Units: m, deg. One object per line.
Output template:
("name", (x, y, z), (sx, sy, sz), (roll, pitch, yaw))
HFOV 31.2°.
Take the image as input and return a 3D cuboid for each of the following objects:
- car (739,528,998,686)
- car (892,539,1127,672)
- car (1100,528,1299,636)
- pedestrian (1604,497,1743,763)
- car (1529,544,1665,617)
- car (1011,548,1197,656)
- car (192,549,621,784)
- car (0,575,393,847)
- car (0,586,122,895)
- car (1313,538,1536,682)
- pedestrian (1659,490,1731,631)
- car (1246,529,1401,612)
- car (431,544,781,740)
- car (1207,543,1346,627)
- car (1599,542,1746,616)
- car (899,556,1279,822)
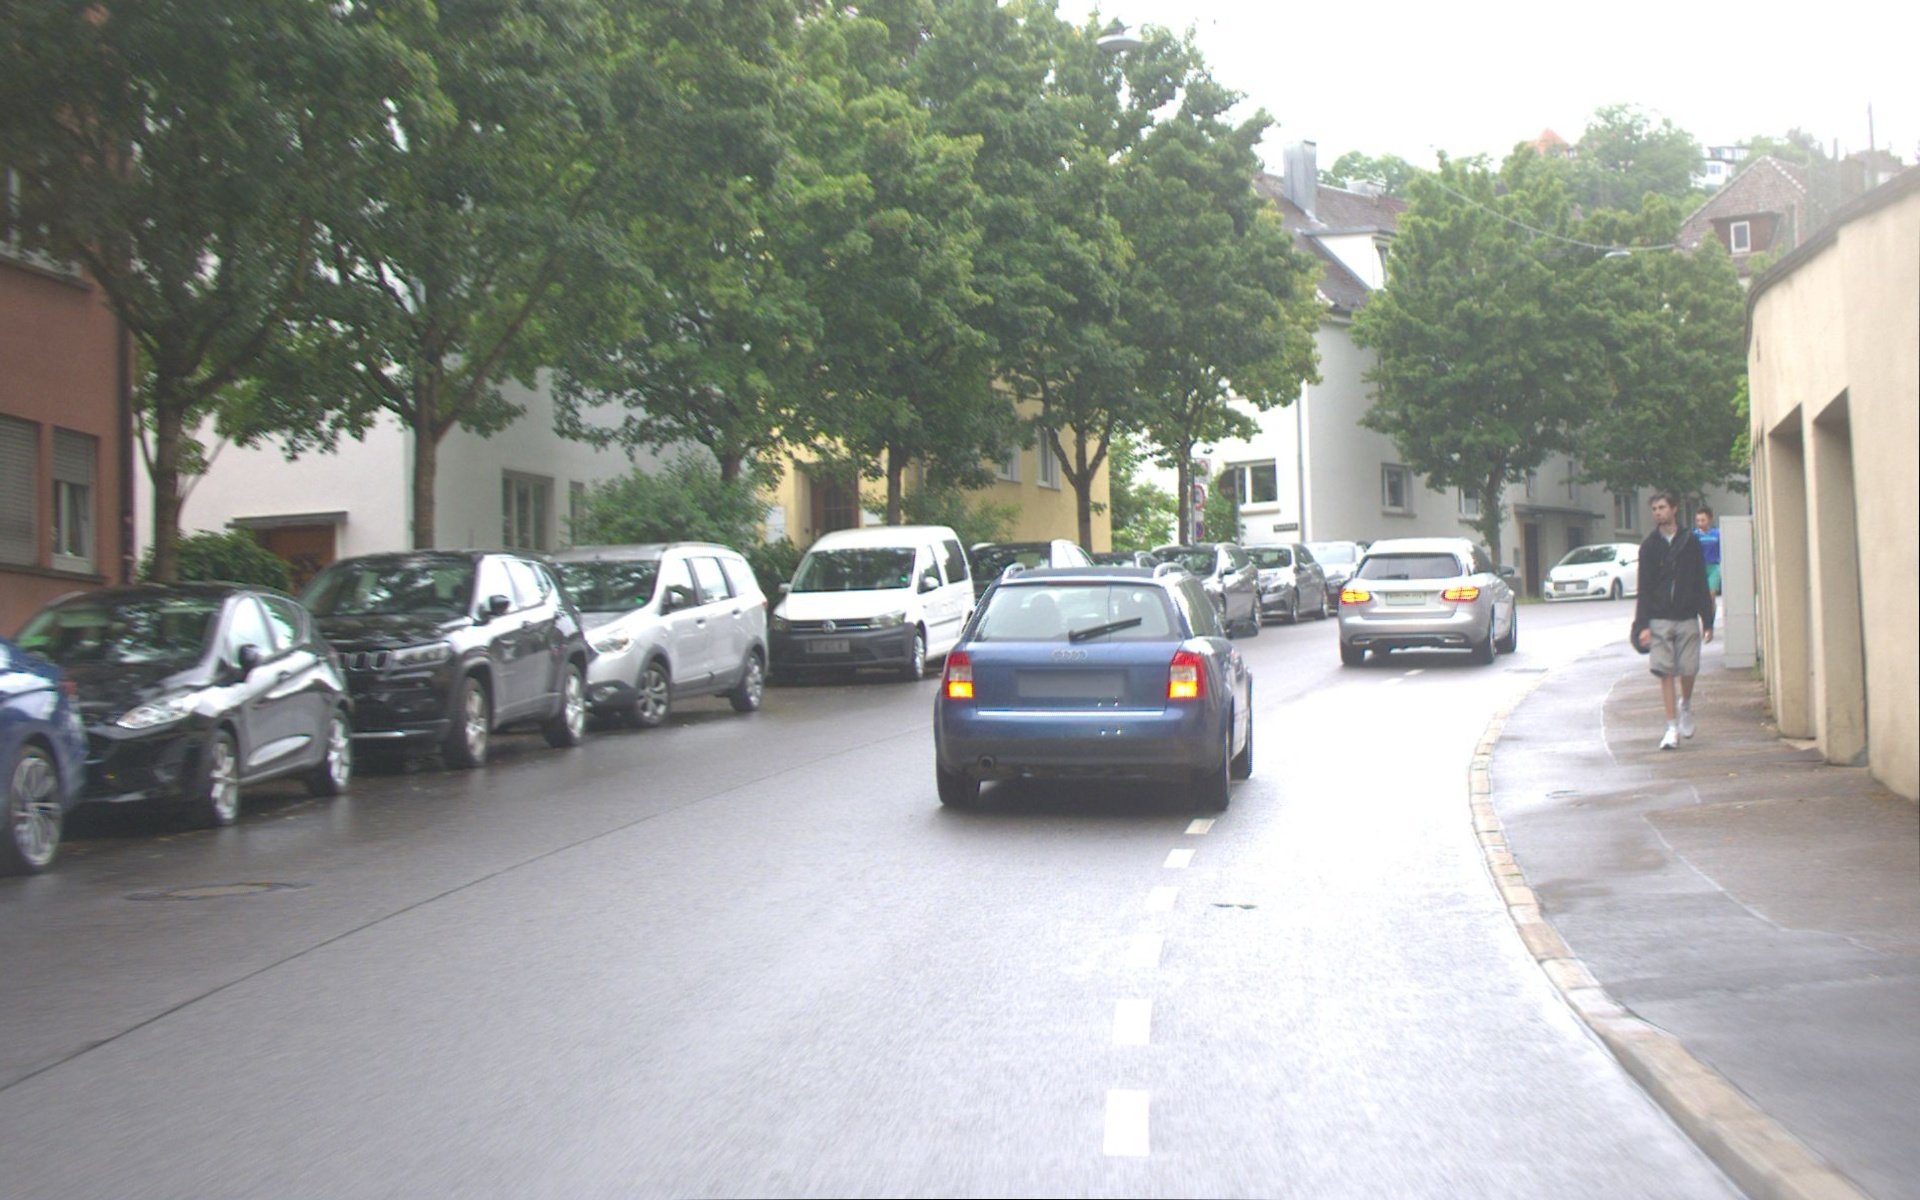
("car", (-1.027, 0.049, 41.407), (1.855, 1.770, 4.479), (-1, 1, 15))
("car", (0.737, 0.041, 46.588), (1.855, 1.662, 4.584), (-2, 0, 18))
("car", (4.028, -0.322, 57.077), (1.856, 1.684, 4.549), (-1, 1, 24))
("pedestrian", (5.076, 0.208, 24.512), (0.899, 1.844, 0.802), (-1, 0, 10))
("car", (14.999, -0.443, 80.742), (1.787, 1.509, 4.339), (-5, -3, 28))
("car", (2.219, 0.000, 51.558), (1.855, 1.493, 4.738), (-1, 1, 14))
("car", (-4.156, 0.447, 26.595), (1.788, 1.635, 4.478), (-1, 1, 11))
("car", (-5.031, 0.623, 21.678), (1.787, 1.488, 4.361), (-1, 1, 5))
("car", (-5.691, 0.723, 16.019), (1.787, 1.488, 4.860), (-1, 1, 8))
("car", (5.633, 0.070, 41.307), (1.951, 1.556, 4.260), (1, 2, 18))
("pedestrian", (9.454, -0.505, 44.202), (0.775, 1.752, 1.011), (-3, 0, 15))
("car", (7.078, -0.585, 66.559), (1.777, 1.535, 4.511), (-1, 0, 22))
("car", (-3.248, 0.341, 32.533), (1.748, 1.684, 4.597), (-1, 1, 15))
("car", (5.743, -0.292, 61.944), (1.615, 1.392, 4.319), (-2, 1, 17))
("car", (17.756, -0.510, 85.512), (1.788, 1.641, 4.336), (-6, -3, 37))
("car", (0.913, 0.481, 21.400), (1.854, 1.409, 4.360), (-3, 0, 8))
